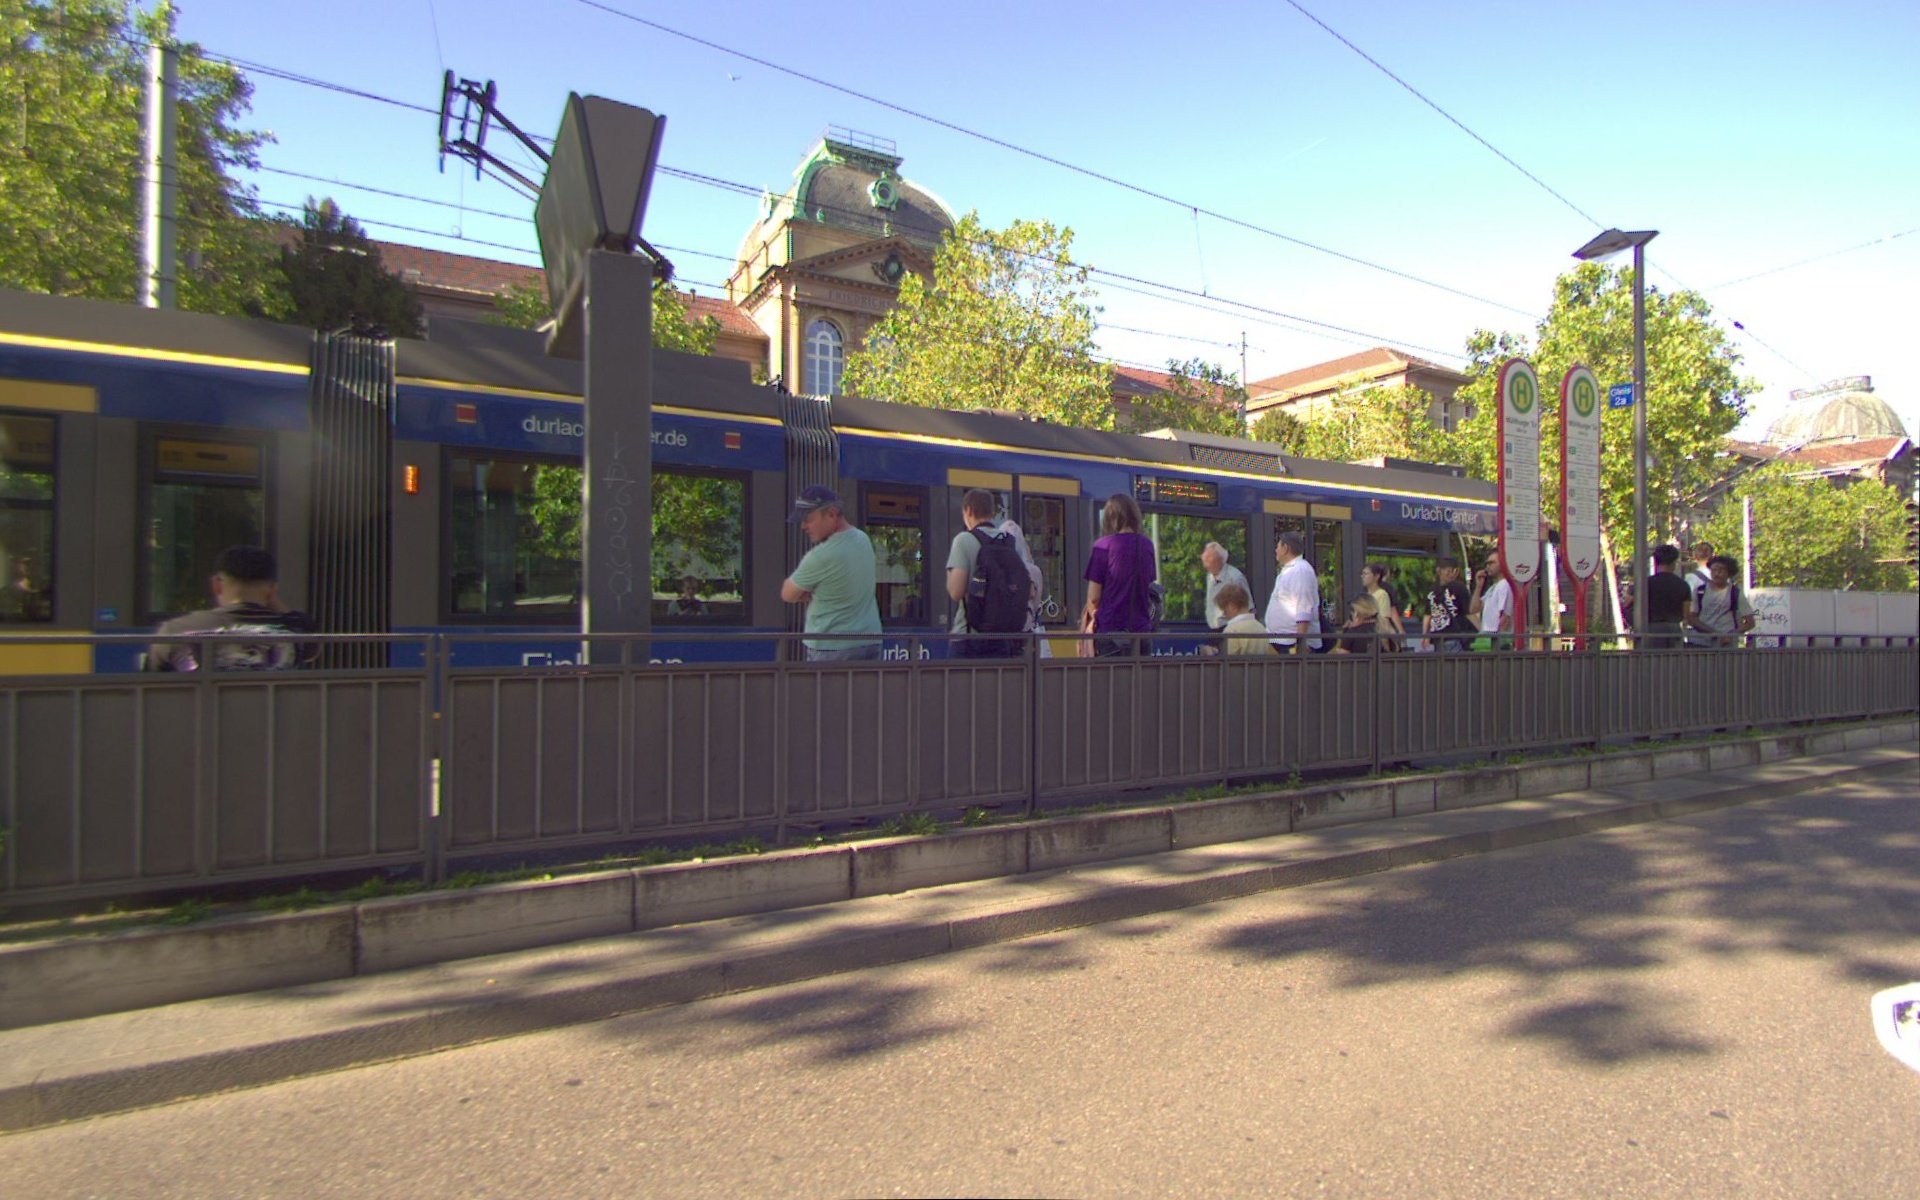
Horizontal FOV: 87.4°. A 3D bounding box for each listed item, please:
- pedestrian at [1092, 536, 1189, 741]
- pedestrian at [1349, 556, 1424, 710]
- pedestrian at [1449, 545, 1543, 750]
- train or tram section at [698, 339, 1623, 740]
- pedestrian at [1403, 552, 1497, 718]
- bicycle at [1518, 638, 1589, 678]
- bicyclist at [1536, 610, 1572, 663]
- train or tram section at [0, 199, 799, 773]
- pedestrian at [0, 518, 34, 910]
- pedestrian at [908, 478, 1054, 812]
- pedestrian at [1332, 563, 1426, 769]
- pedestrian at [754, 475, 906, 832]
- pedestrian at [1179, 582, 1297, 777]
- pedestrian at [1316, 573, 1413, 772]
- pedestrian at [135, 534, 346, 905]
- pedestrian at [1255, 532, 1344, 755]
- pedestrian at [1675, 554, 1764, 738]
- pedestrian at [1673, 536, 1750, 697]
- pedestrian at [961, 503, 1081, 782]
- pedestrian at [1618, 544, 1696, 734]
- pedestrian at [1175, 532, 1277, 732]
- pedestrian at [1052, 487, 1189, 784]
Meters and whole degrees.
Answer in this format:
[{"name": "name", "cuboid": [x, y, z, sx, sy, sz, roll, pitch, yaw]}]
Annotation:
[{"name": "pedestrian", "cuboid": [1.415, 0.298, 7.908, 0.524, 1.539, 0.542, 1, -1, -30]}, {"name": "pedestrian", "cuboid": [4.957, 0.383, 11.684, 0.540, 1.724, 0.605, 1, -1, -34]}, {"name": "pedestrian", "cuboid": [4.718, 0.411, 8.842, 0.605, 1.724, 0.502, 1, -1, -34]}, {"name": "train or tram section", "cuboid": [3.512, -0.305, 12.862, 12.961, 3.303, 2.900, 2, 0, -31]}, {"name": "pedestrian", "cuboid": [5.328, 0.376, 10.925, 0.739, 1.724, 0.628, 1, -1, -34]}, {"name": "bicycle", "cuboid": [16.190, 1.566, 27.436, 0.643, 0.976, 1.555, 2, 0, -29]}, {"name": "bicyclist", "cuboid": [16.214, 1.002, 27.398, 0.642, 1.404, 0.562, 2, 0, -30]}, {"name": "train or tram section", "cuboid": [-8.835, -0.774, 5.507, 15.710, 3.303, 2.900, 2, 0, -31]}, {"name": "pedestrian", "cuboid": [-3.543, 0.387, 3.324, 0.598, 1.316, 0.531, 1, -2, -34]}, {"name": "pedestrian", "cuboid": [0.108, 0.240, 5.604, 0.564, 1.718, 0.658, 1, -1, -29]}, {"name": "pedestrian", "cuboid": [3.828, 0.588, 9.188, 0.605, 1.793, 0.549, 1, -1, -34]}, {"name": "pedestrian", "cuboid": [-0.666, 0.257, 5.088, 0.564, 1.655, 0.658, 1, -1, -29]}, {"name": "pedestrian", "cuboid": [1.825, 0.502, 6.614, 0.524, 1.208, 0.542, 1, -1, -30]}, {"name": "pedestrian", "cuboid": [2.841, 0.494, 7.064, 0.501, 1.333, 0.413, 1, -1, -32]}, {"name": "pedestrian", "cuboid": [-2.692, 0.419, 3.818, 0.598, 1.263, 0.531, 1, -2, -32]}, {"name": "pedestrian", "cuboid": [2.719, 0.342, 8.085, 0.599, 1.724, 0.507, 0, -1, 10]}, {"name": "pedestrian", "cuboid": [7.500, 0.447, 9.939, 0.539, 1.757, 0.540, 0, -1, 20]}, {"name": "pedestrian", "cuboid": [8.476, 0.190, 11.333, 0.534, 1.757, 0.544, 1, -1, -34]}, {"name": "pedestrian", "cuboid": [0.401, 0.274, 6.626, 0.614, 1.731, 0.512, 1, -1, -31]}, {"name": "pedestrian", "cuboid": [6.736, 0.372, 9.709, 0.542, 1.757, 0.537, -1, -2, 42]}, {"name": "pedestrian", "cuboid": [2.333, 0.278, 8.838, 0.616, 1.671, 0.615, 1, -1, -34]}, {"name": "pedestrian", "cuboid": [0.986, 0.216, 6.258, 0.564, 1.718, 0.658, 1, -1, -29]}]
